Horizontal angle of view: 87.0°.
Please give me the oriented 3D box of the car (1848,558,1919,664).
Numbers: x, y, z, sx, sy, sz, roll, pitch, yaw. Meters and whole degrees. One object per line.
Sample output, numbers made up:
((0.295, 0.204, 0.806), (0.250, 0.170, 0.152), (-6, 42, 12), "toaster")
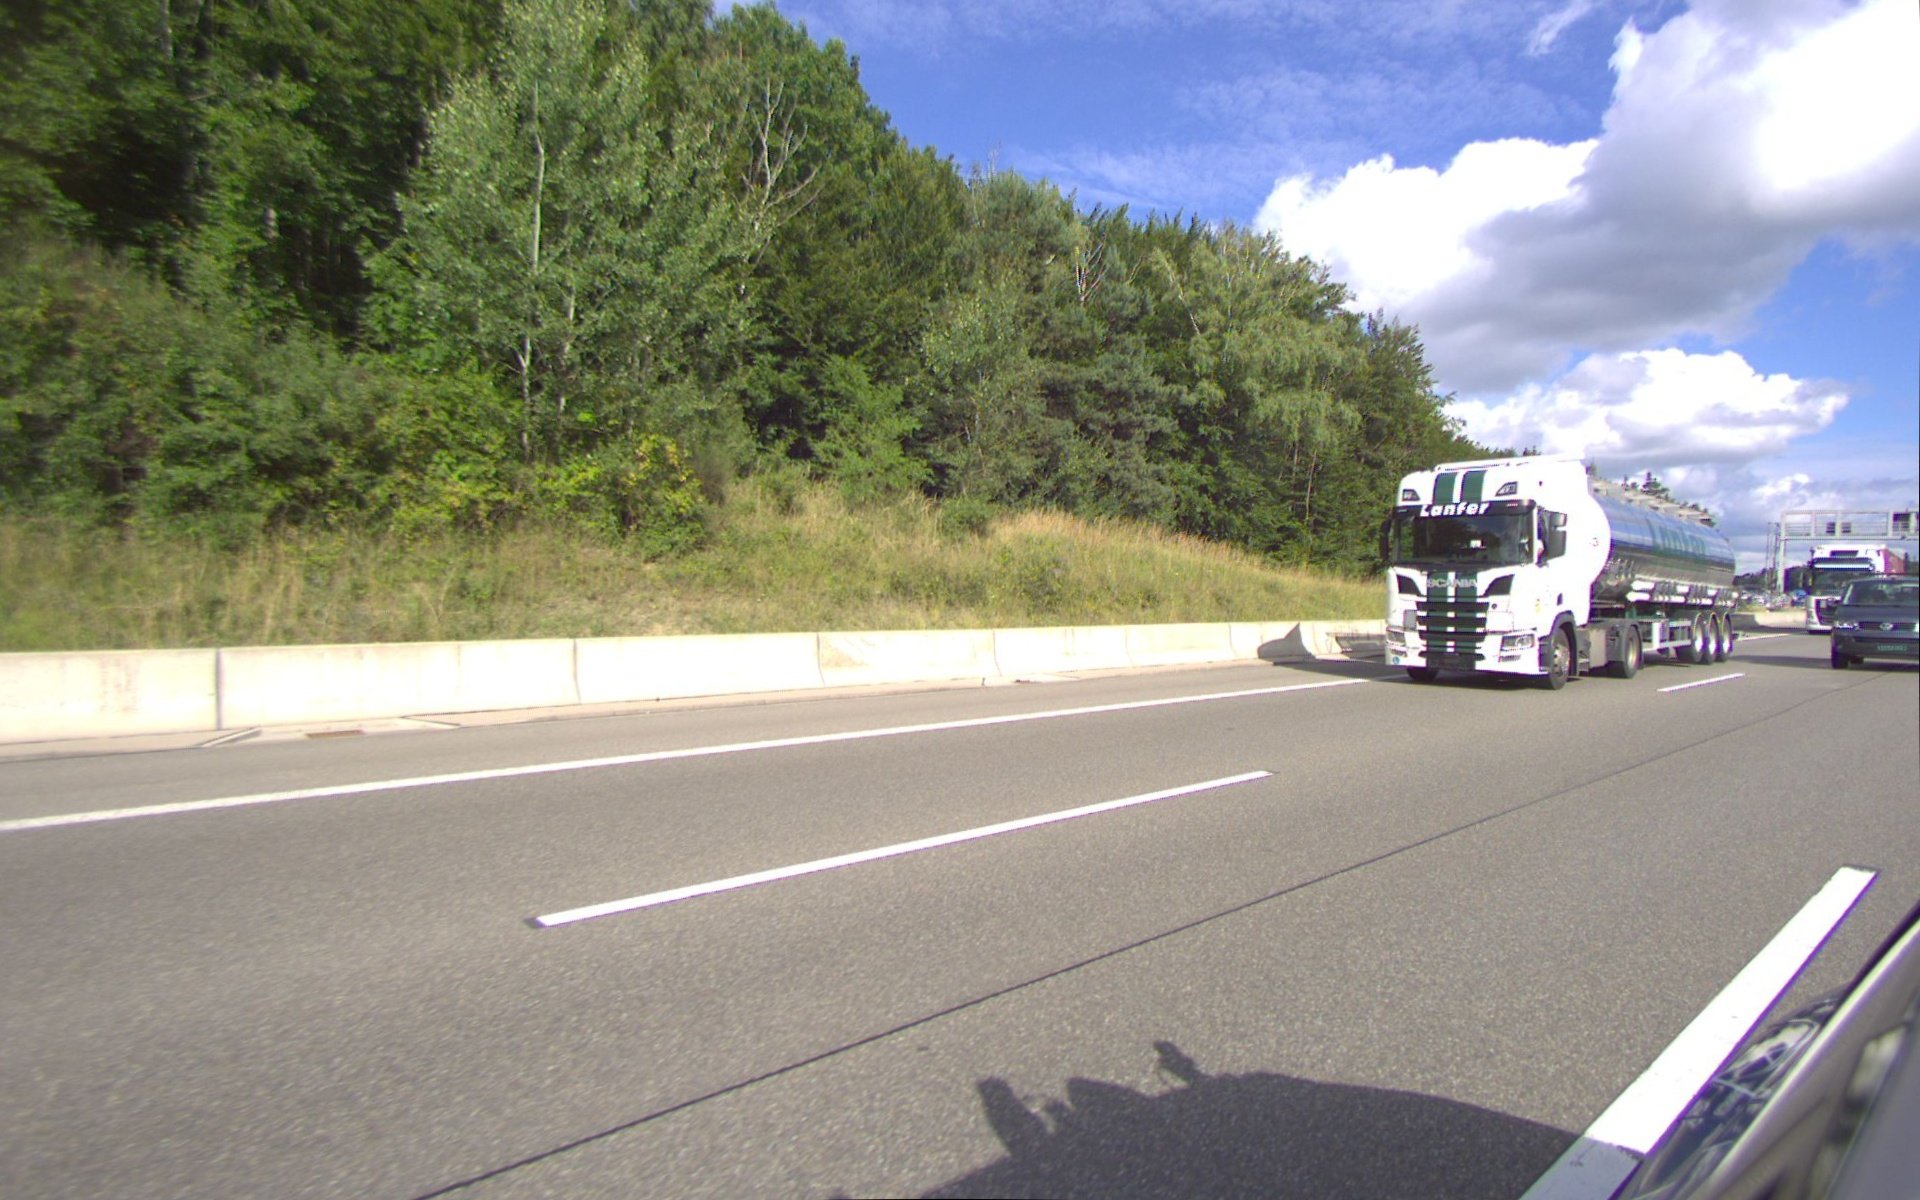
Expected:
((21.134, 0.214, 22.296), (4.848, 2.136, 1.851), (0, 0, -43), "car")

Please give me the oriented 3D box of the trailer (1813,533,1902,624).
((45.465, -0.948, 51.064), (2.774, 4.096, 13.493), (1, 0, 44), "trailer")

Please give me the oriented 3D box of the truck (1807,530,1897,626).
((40.777, -0.928, 46.214), (2.775, 4.096, 5.680), (1, 0, 44), "truck")

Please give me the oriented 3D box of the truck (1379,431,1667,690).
((10.219, -0.596, 18.109), (5.976, 3.871, 2.653), (1, 1, -42), "truck")

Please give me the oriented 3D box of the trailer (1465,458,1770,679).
((14.978, -0.542, 22.378), (11.654, 3.814, 2.653), (1, 1, -42), "trailer")

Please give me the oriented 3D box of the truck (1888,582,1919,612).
((125.308, -0.397, 134.400), (3.009, 3.730, 7.445), (2, 1, 42), "truck")
